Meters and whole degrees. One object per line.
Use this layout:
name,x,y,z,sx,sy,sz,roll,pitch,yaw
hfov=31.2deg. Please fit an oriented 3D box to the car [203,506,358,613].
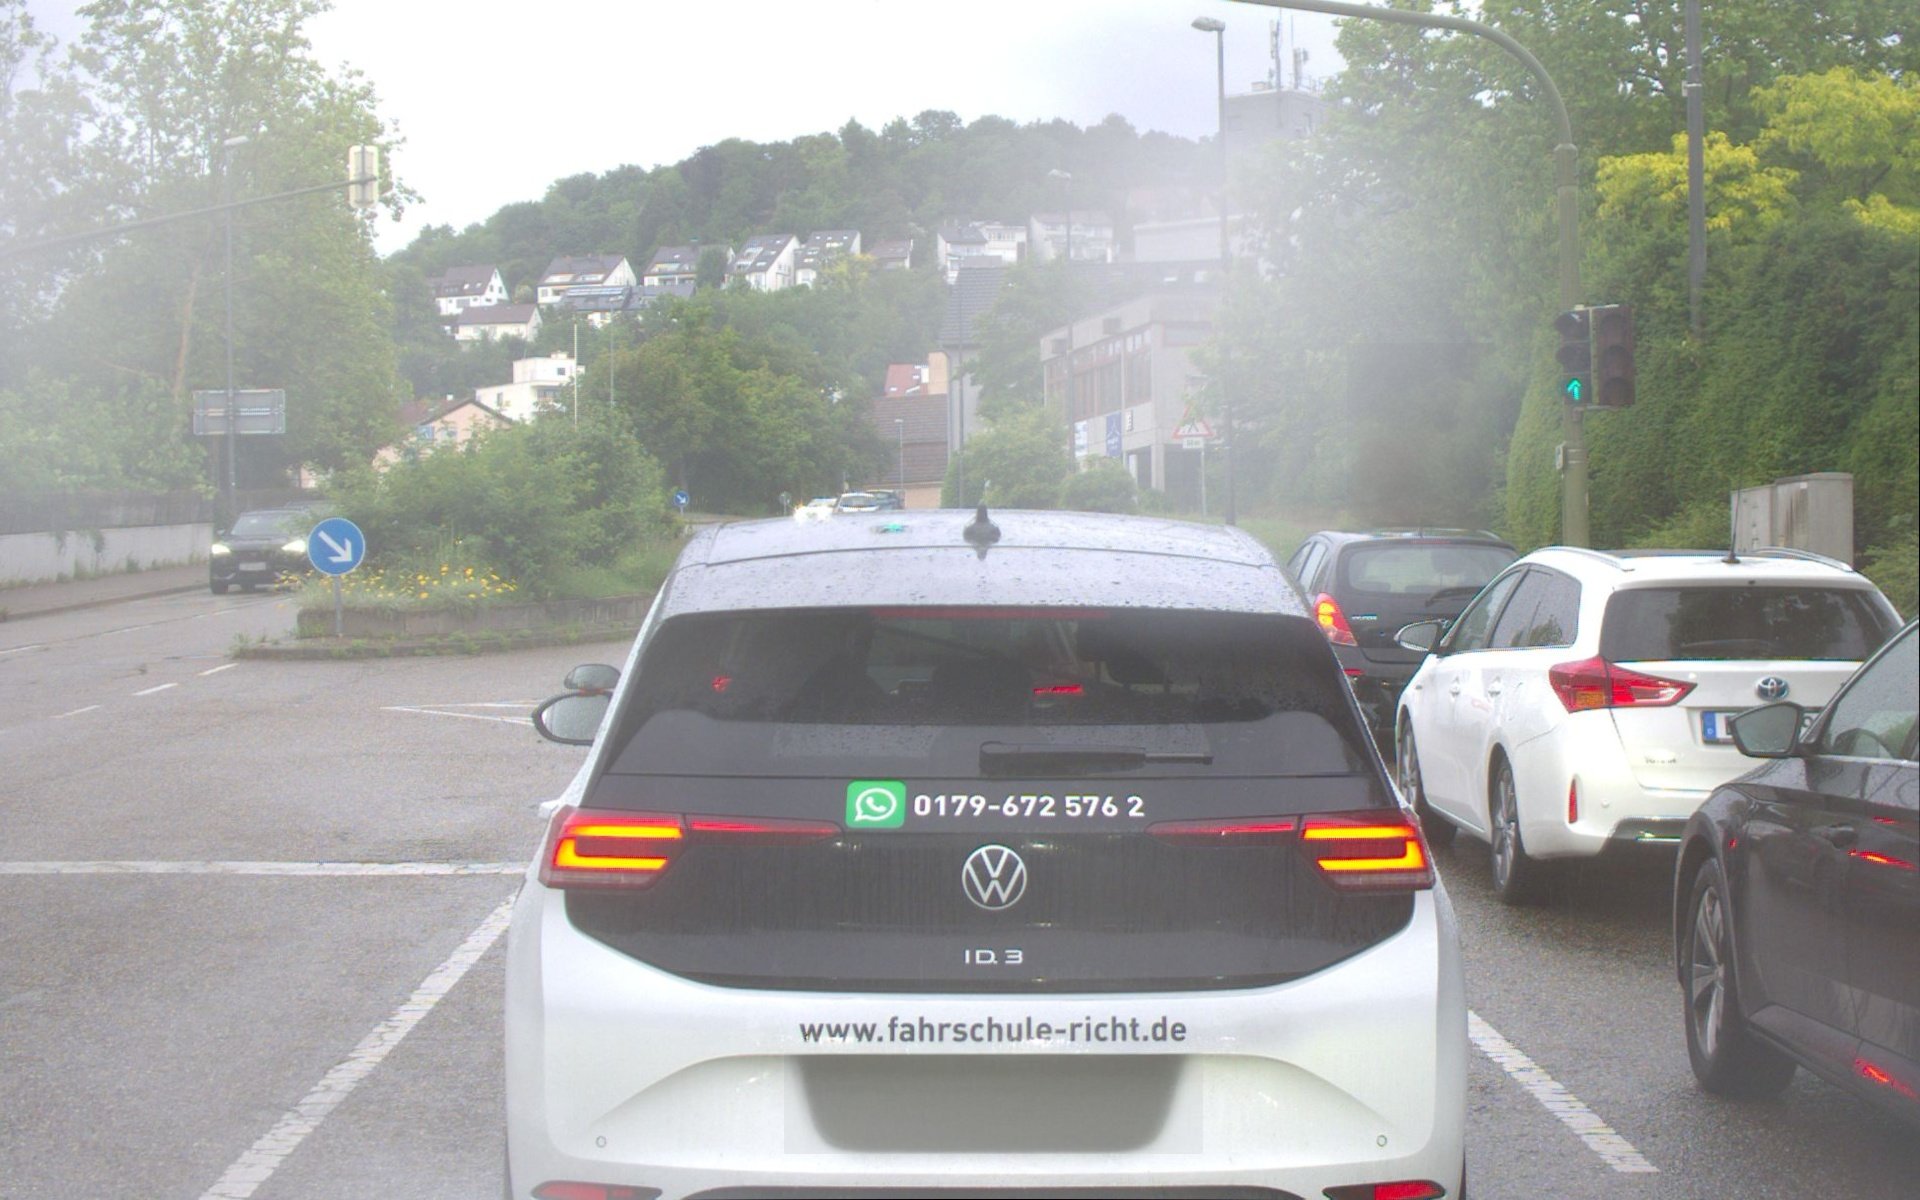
car,-12.425,-0.756,63.101,1.993,1.798,4.000,-3,1,0

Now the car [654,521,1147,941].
car,-0.270,0.453,15.140,1.837,1.549,4.175,1,1,-1

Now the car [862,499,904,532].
car,-3.443,-3.753,153.124,1.761,1.413,3.749,-1,2,-3

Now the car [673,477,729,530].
car,-10.552,-3.917,140.254,1.993,2.007,4.000,1,0,0

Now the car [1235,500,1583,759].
car,2.938,0.158,23.290,1.775,1.576,4.000,1,1,0

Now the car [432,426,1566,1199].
car,0.013,0.490,7.962,1.837,1.623,4.616,1,1,-1

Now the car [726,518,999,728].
car,-0.706,0.113,25.410,1.837,1.395,3.831,1,1,-1

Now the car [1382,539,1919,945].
car,3.061,0.502,14.929,1.837,1.461,4.117,1,1,-1

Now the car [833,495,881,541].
car,-3.496,-2.790,117.386,1.581,1.462,4.000,-1,1,-1

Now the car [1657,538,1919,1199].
car,2.871,0.628,7.504,1.838,1.461,4.350,1,1,1
